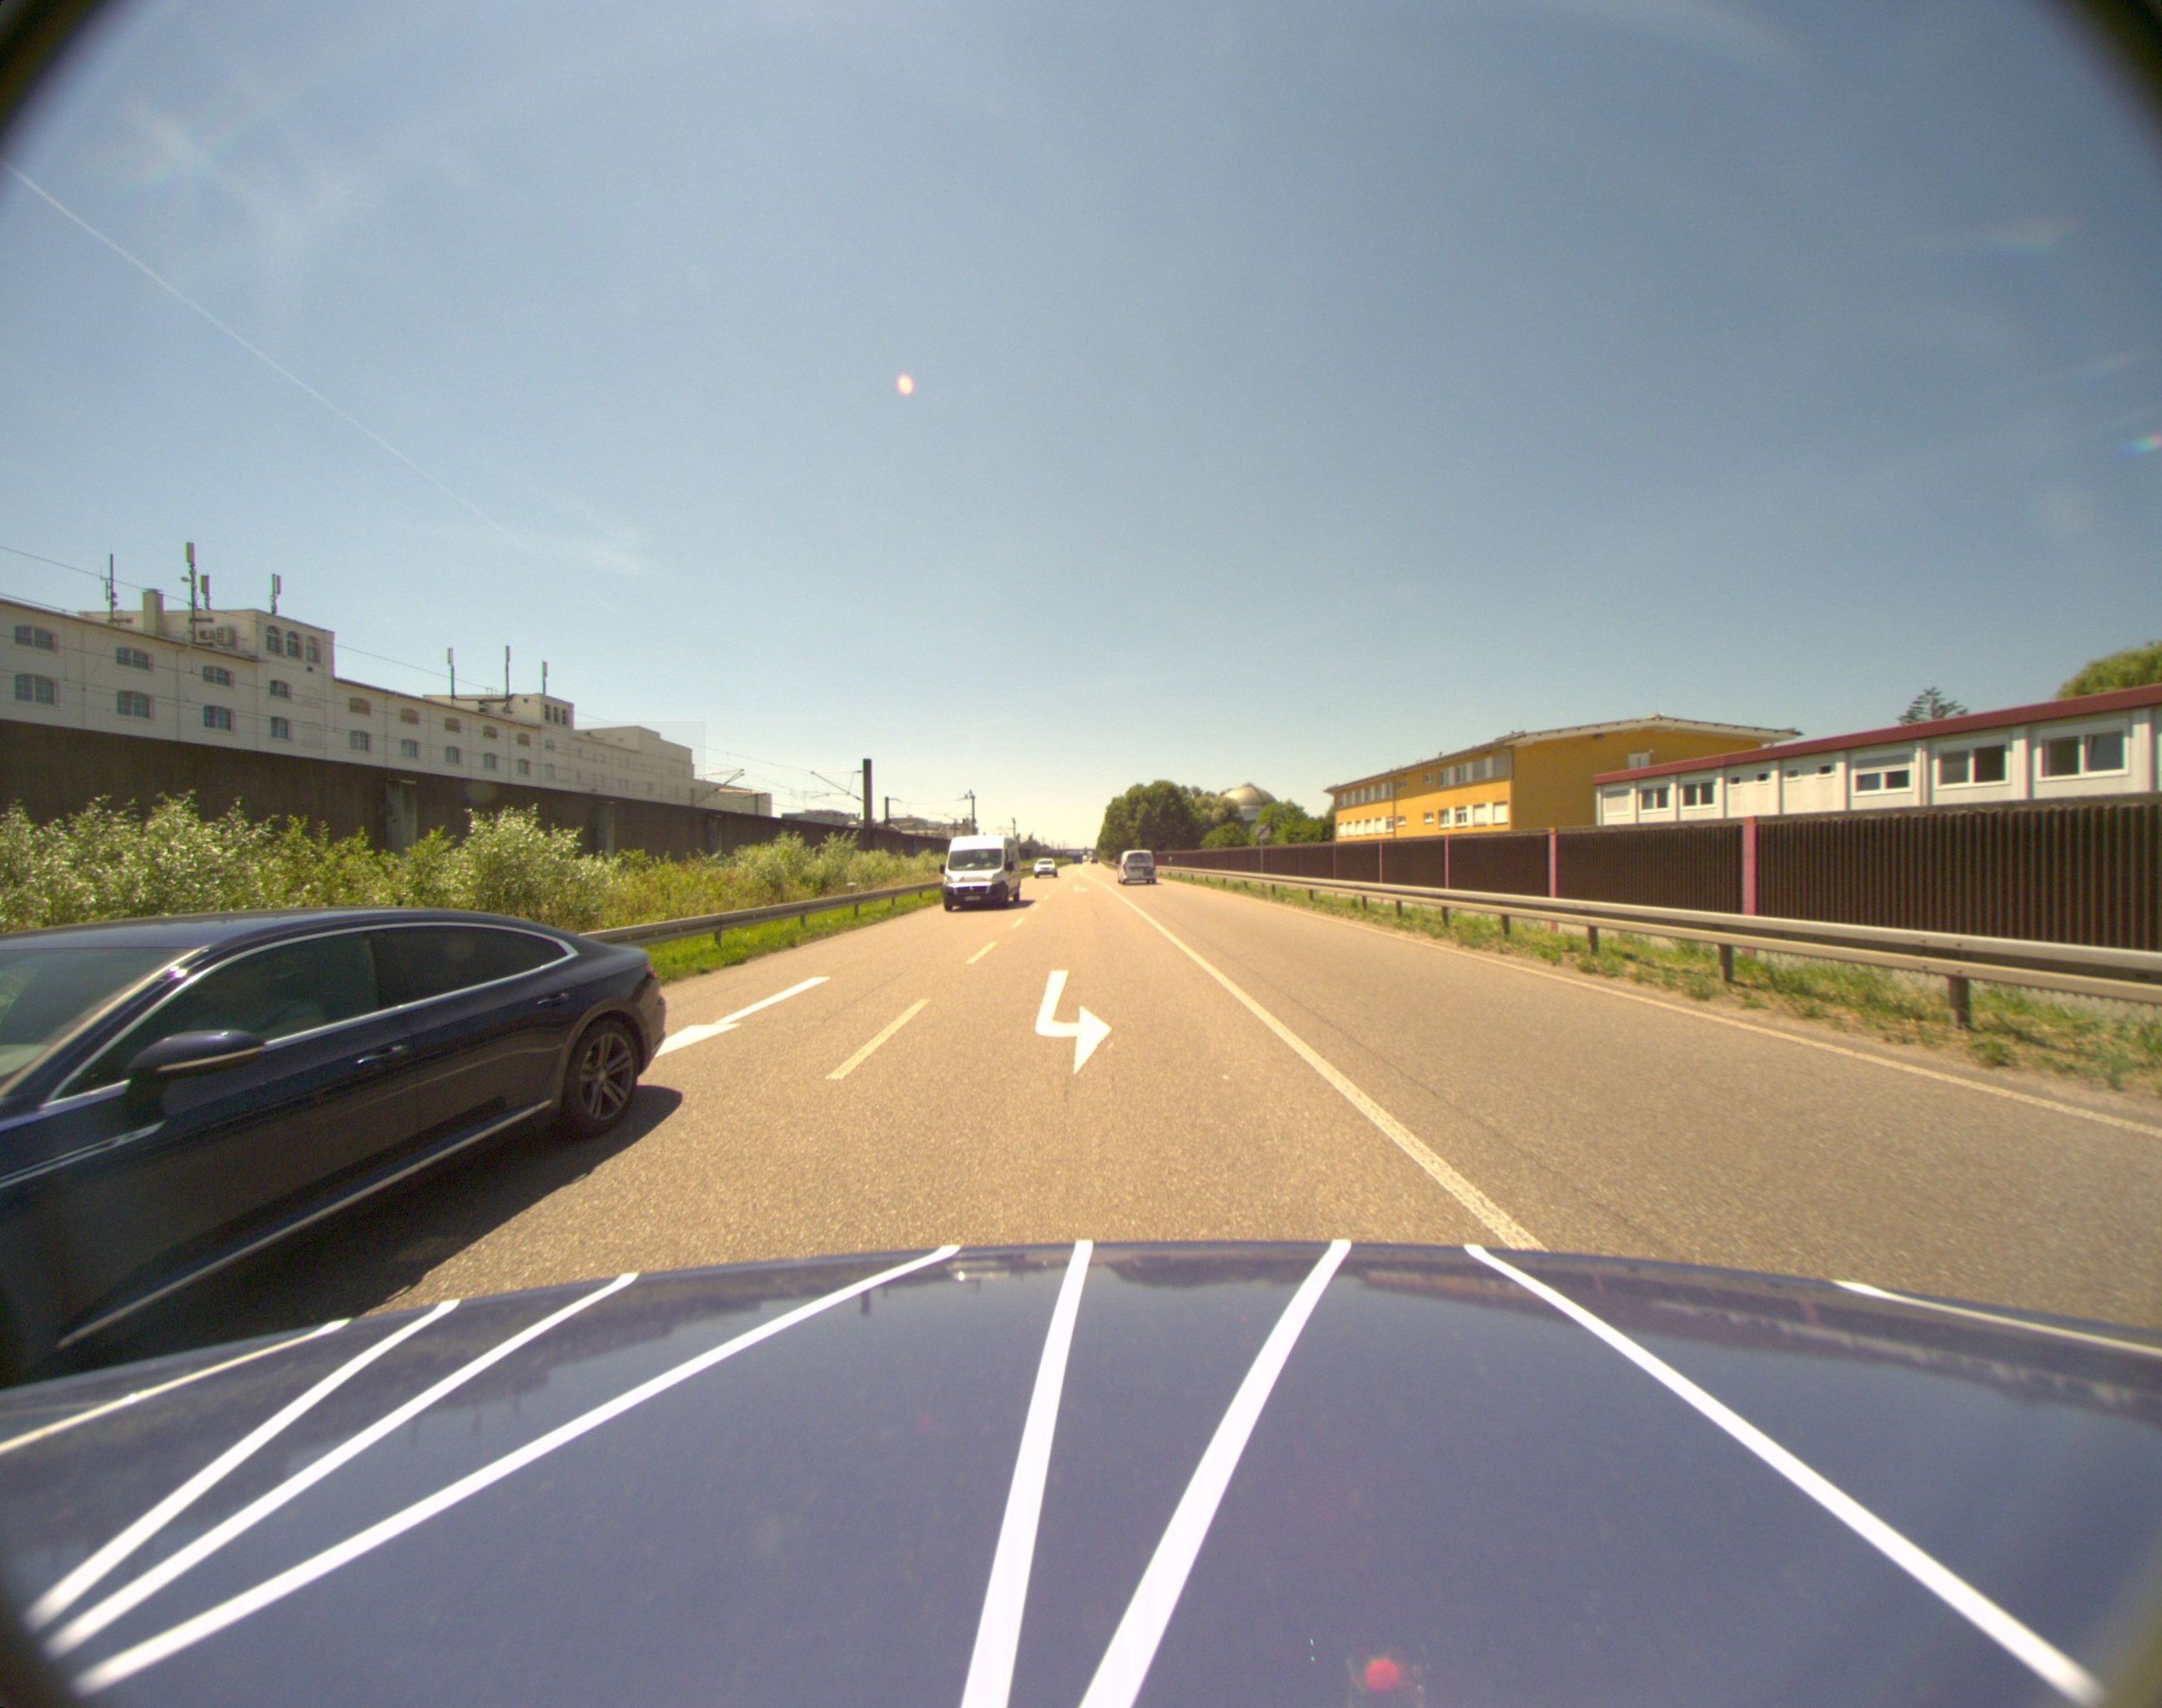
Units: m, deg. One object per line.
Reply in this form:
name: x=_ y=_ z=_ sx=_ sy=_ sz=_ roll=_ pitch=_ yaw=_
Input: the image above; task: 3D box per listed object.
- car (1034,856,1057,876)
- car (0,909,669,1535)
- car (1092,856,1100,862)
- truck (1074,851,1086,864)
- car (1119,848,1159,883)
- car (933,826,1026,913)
car: x=-2.907 y=0.993 z=63.158 sx=1.823 sy=1.554 sz=4.278 roll=-2 pitch=0 yaw=-1
car: x=-3.708 y=1.089 z=2.799 sx=1.861 sy=1.371 sz=4.503 roll=-3 pitch=0 yaw=0
car: x=3.646 y=1.208 z=180.766 sx=1.849 sy=1.382 sz=4.190 roll=-3 pitch=0 yaw=1
truck: x=-0.224 y=0.866 z=197.596 sx=2.617 sy=3.024 sz=10.656 roll=-2 pitch=0 yaw=1
car: x=3.118 y=0.588 z=41.614 sx=1.892 sy=1.730 sz=4.777 roll=-2 pitch=0 yaw=2
car: x=-3.376 y=0.492 z=26.862 sx=2.194 sy=2.588 sz=6.750 roll=-3 pitch=0 yaw=1
